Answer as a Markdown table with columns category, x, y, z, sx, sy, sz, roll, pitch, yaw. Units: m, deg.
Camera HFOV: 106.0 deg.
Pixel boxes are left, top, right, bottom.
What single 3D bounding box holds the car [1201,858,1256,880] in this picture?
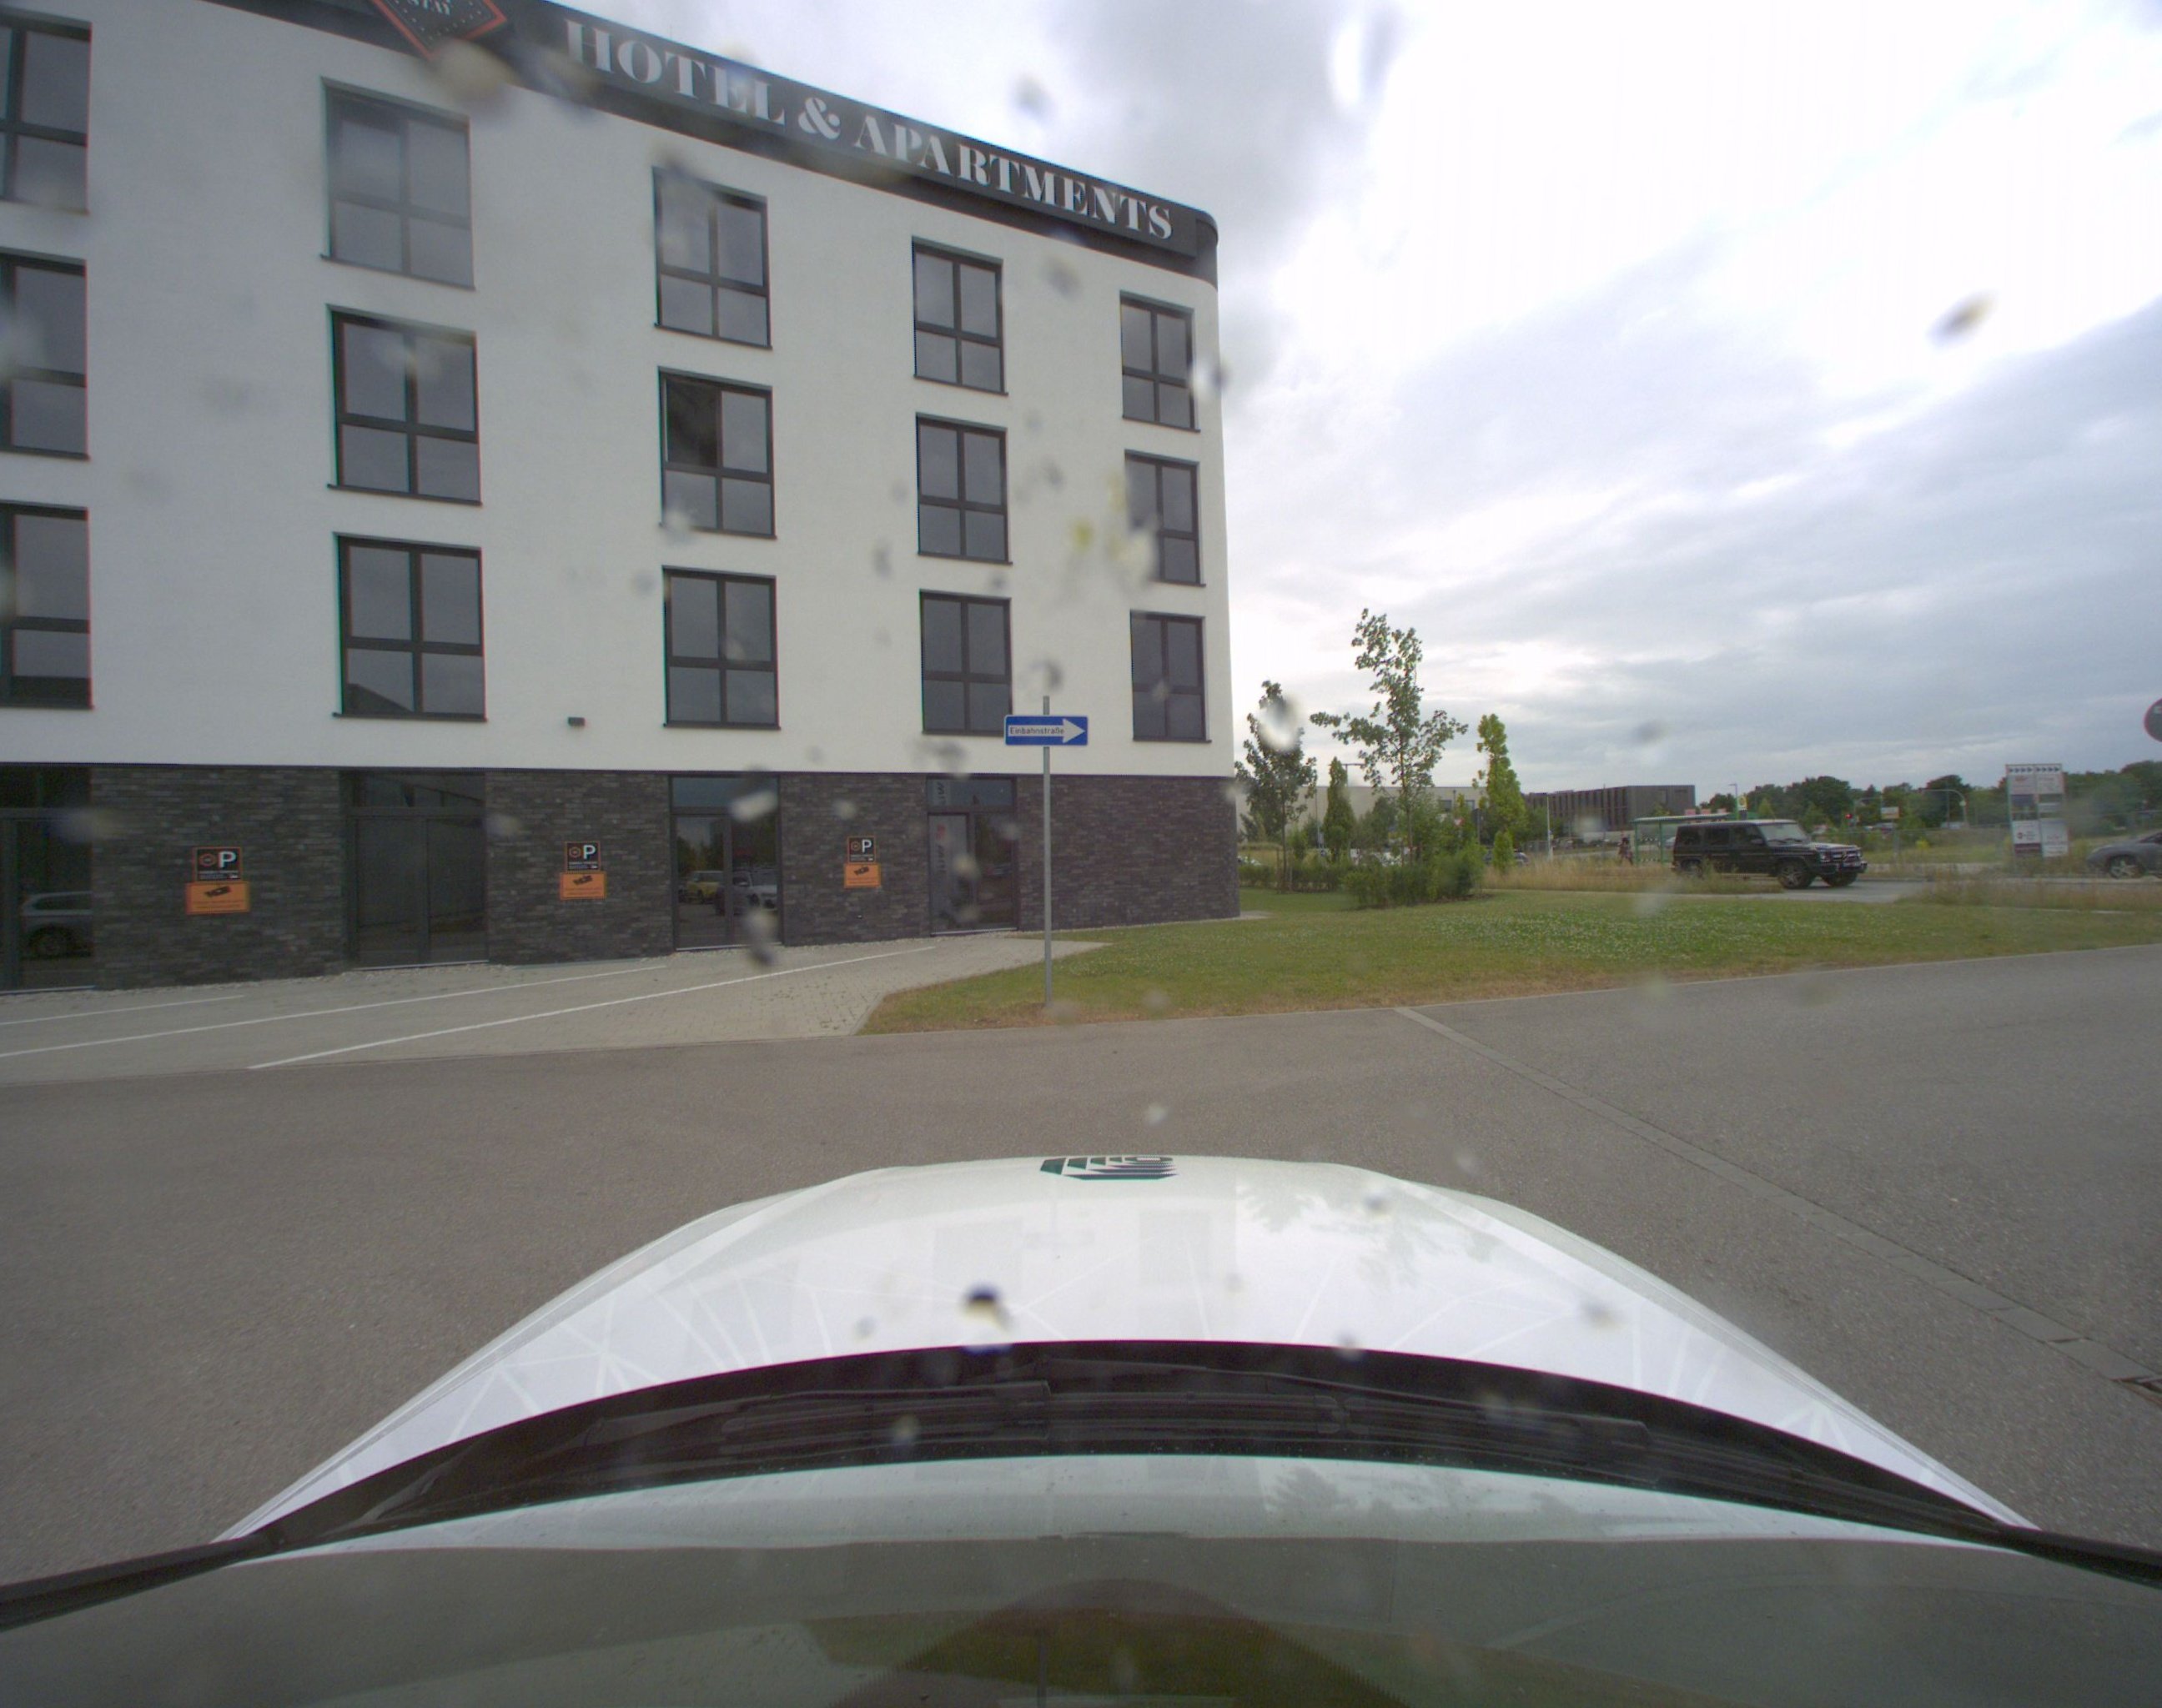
| category | x | y | z | sx | sy | sz | roll | pitch | yaw |
| --- | --- | --- | --- | --- | --- | --- | --- | --- | --- |
| car | 9.839 | 0.995 | 54.681 | 1.759 | 1.386 | 4.272 | -2 | 0 | -20 |

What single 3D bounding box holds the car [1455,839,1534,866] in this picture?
| category | x | y | z | sx | sy | sz | roll | pitch | yaw |
| --- | --- | --- | --- | --- | --- | --- | --- | --- | --- |
| car | 22.443 | -0.097 | 44.334 | 1.714 | 1.343 | 3.947 | -2 | 0 | -12 |

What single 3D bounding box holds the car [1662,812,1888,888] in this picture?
| category | x | y | z | sx | sy | sz | roll | pitch | yaw |
| --- | --- | --- | --- | --- | --- | --- | --- | --- | --- |
| car | 19.818 | -0.137 | 23.616 | 1.993 | 1.923 | 4.833 | -2 | 1 | -9 |

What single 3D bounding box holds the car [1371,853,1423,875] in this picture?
| category | x | y | z | sx | sy | sz | roll | pitch | yaw |
| --- | --- | --- | --- | --- | --- | --- | --- | --- | --- |
| car | 21.148 | 0.651 | 54.624 | 1.710 | 1.343 | 3.958 | -2 | 0 | -5 |

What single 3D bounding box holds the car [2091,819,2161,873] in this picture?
| category | x | y | z | sx | sy | sz | roll | pitch | yaw |
| --- | --- | --- | --- | --- | --- | --- | --- | --- | --- |
| car | 27.598 | -0.223 | 19.438 | 1.714 | 1.343 | 4.047 | -2 | 0 | -12 |

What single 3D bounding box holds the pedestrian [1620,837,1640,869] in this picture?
| category | x | y | z | sx | sy | sz | roll | pitch | yaw |
| --- | --- | --- | --- | --- | --- | --- | --- | --- | --- |
| pedestrian | 29.796 | -0.074 | 44.210 | 0.734 | 1.722 | 0.654 | -1 | 0 | 24 |
